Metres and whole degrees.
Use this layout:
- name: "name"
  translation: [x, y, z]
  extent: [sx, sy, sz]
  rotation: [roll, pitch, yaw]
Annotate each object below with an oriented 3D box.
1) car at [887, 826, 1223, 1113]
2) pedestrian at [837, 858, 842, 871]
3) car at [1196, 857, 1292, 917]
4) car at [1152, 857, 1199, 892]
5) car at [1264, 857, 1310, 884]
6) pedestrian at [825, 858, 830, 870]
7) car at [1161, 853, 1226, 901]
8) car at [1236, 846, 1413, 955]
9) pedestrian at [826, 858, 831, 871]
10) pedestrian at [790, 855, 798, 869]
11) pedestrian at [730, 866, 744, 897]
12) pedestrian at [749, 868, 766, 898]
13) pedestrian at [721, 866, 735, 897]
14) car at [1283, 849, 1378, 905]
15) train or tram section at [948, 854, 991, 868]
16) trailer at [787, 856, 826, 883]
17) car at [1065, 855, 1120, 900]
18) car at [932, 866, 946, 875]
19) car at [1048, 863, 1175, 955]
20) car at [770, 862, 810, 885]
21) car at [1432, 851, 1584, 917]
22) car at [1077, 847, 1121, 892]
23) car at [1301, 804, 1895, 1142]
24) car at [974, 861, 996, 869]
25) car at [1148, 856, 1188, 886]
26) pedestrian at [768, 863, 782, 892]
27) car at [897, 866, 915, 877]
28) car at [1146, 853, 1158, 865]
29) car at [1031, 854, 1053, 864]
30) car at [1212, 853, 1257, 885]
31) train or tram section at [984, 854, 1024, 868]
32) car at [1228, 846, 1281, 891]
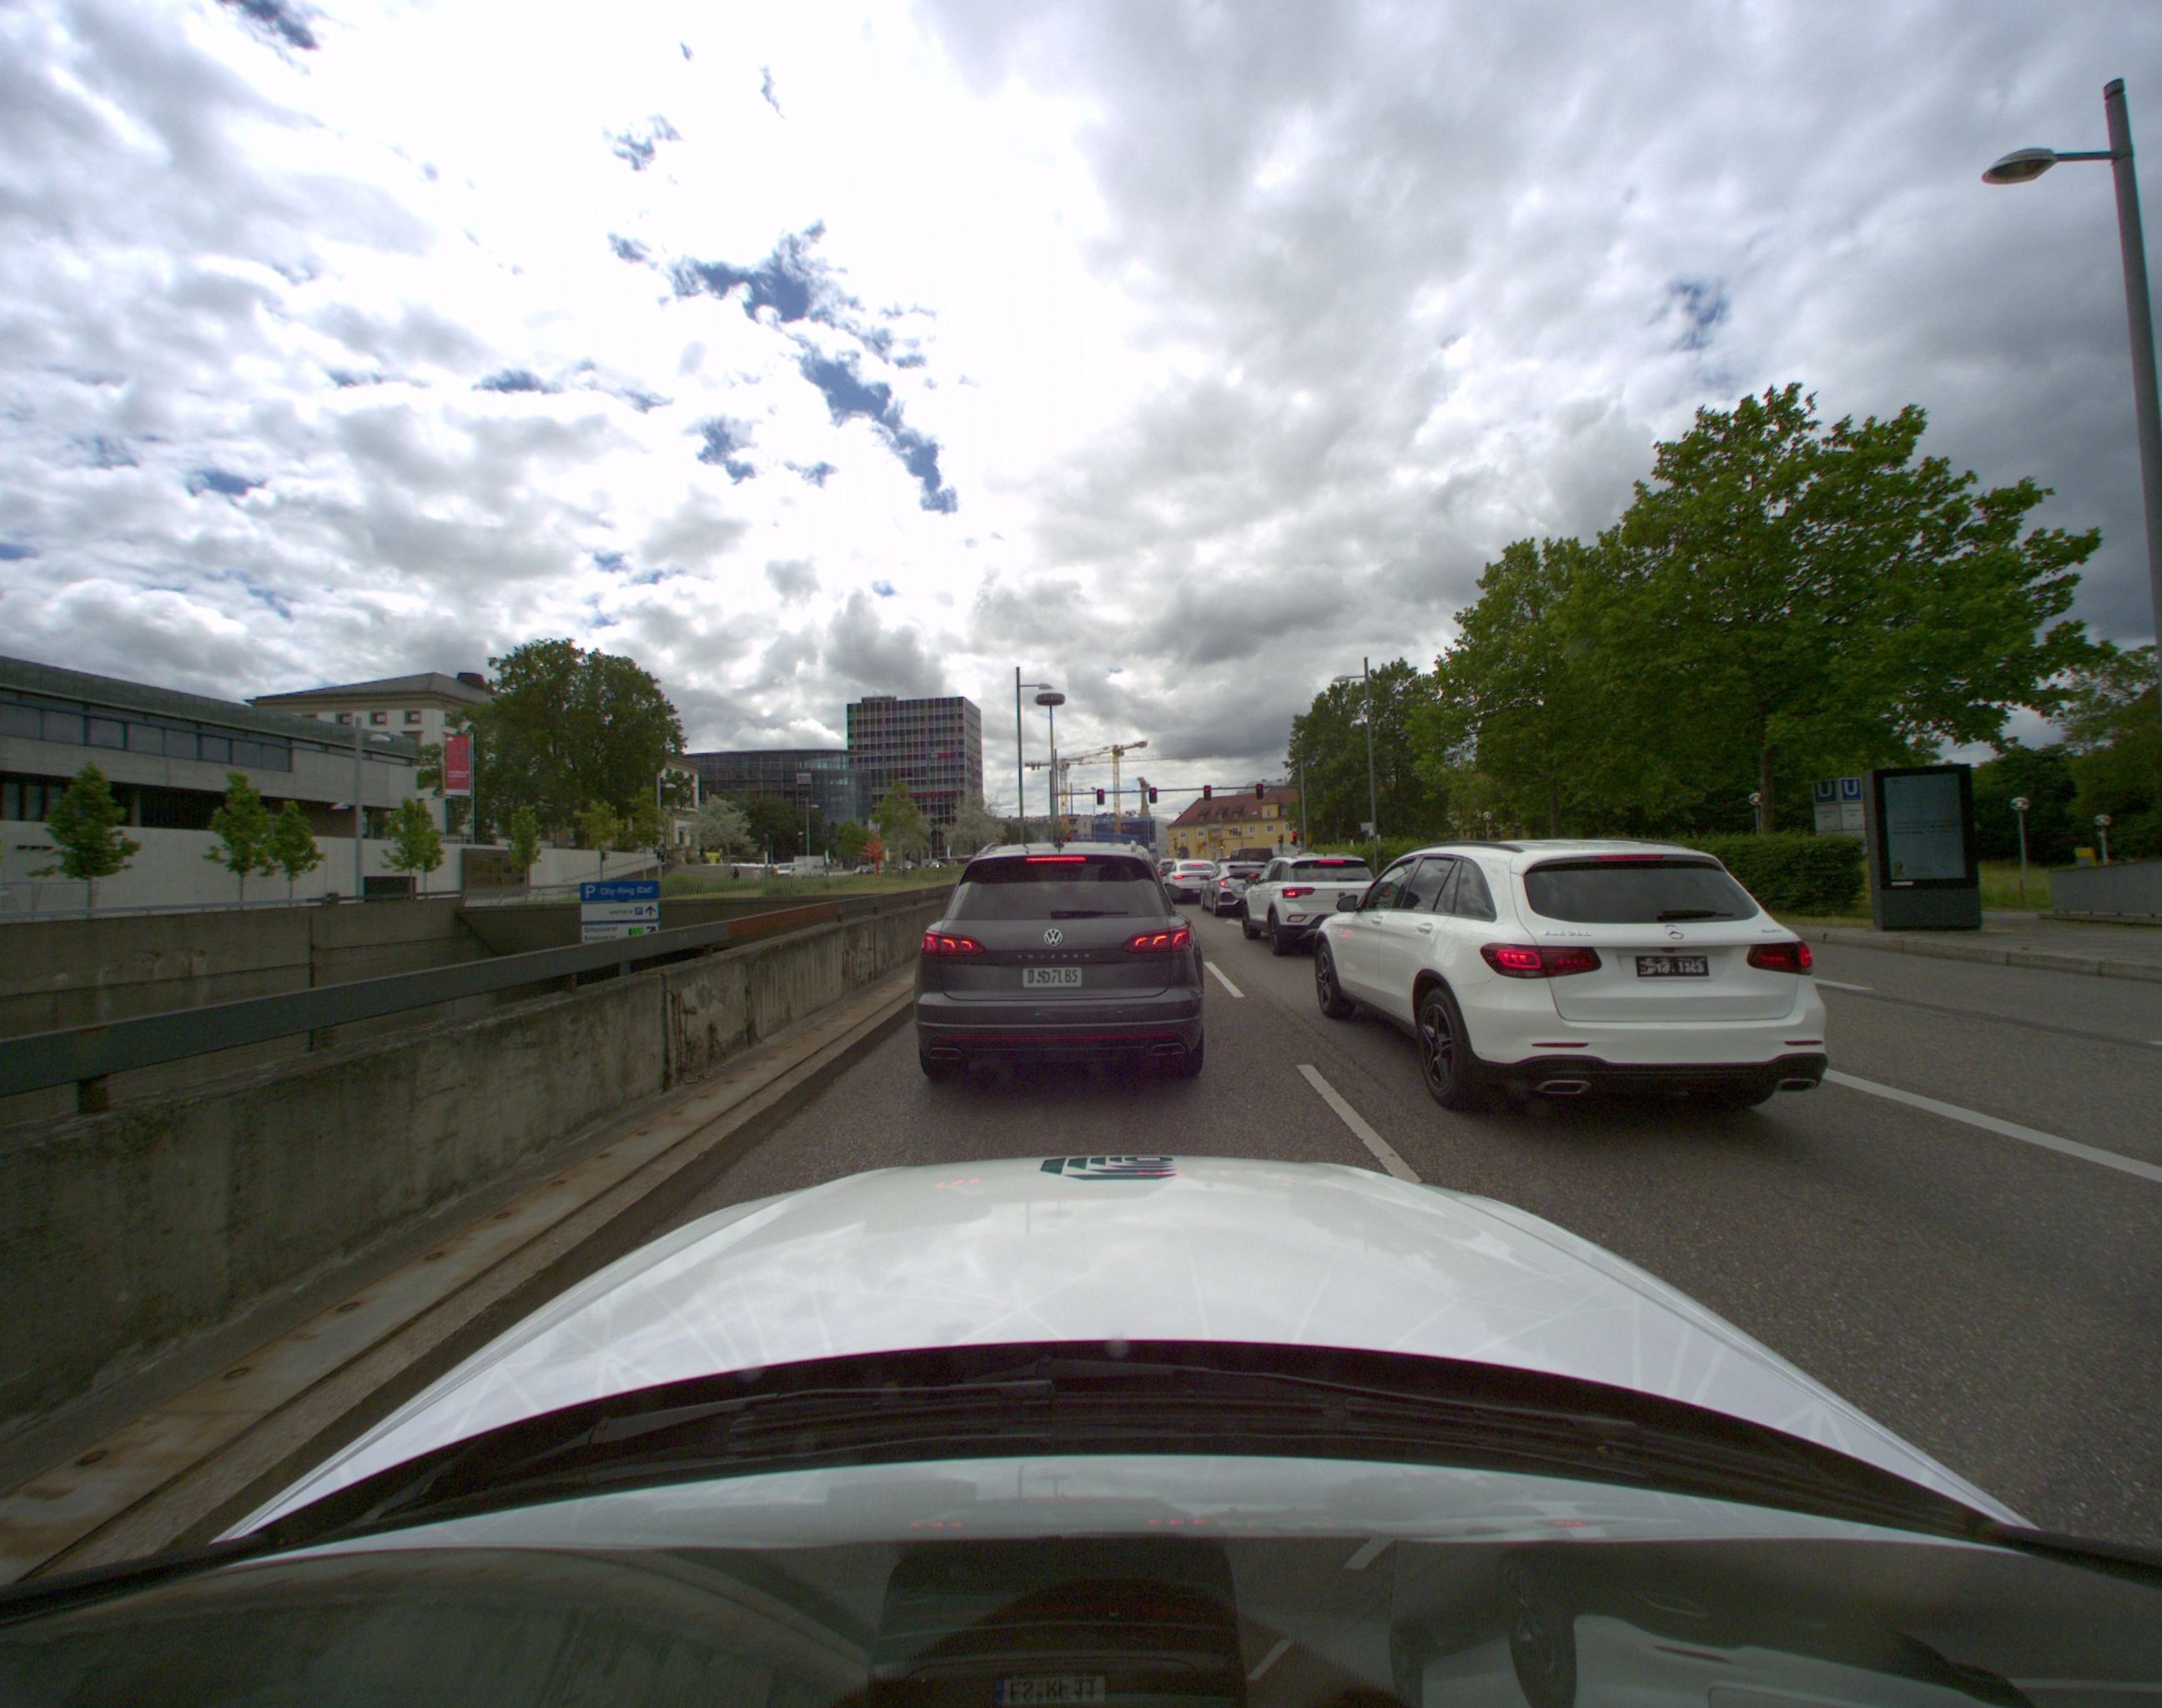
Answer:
- name: "car"
  translation: [-0.099, 0.691, 6.788]
  extent: [1.944, 1.651, 4.001]
  rotation: [-1, 0, 1]
- name: "pedestrian"
  translation: [-38.023, 1.640, 128.306]
  extent: [0.740, 2.013, 0.915]
  rotation: [-2, 1, -17]
- name: "car"
  translation: [4.317, 0.843, 22.227]
  extent: [1.918, 1.432, 4.493]
  rotation: [-1, -1, 3]
- name: "car"
  translation: [4.340, 0.933, 37.783]
  extent: [1.918, 1.529, 4.050]
  rotation: [-1, -1, 3]
- name: "car"
  translation: [11.495, 0.926, 45.652]
  extent: [1.751, 1.447, 3.633]
  rotation: [0, -1, 1]
- name: "pedestrian"
  translation: [-41.759, 1.681, 134.254]
  extent: [0.740, 2.013, 0.788]
  rotation: [-2, 1, -18]
- name: "car"
  translation: [3.904, 0.788, 28.968]
  extent: [1.918, 1.529, 4.493]
  rotation: [-1, -1, 3]
- name: "car"
  translation: [3.942, 0.705, 14.025]
  extent: [1.918, 1.551, 4.493]
  rotation: [-1, -1, 3]
- name: "pedestrian"
  translation: [-39.108, 1.577, 126.231]
  extent: [0.740, 2.013, 0.915]
  rotation: [-2, 1, -17]
- name: "pedestrian"
  translation: [-40.072, 1.113, 113.766]
  extent: [0.737, 2.013, 1.113]
  rotation: [-2, 1, -3]
- name: "pedestrian"
  translation: [-23.318, 1.868, 55.157]
  extent: [0.794, 2.013, 0.830]
  rotation: [-2, 0, -26]
- name: "pedestrian"
  translation: [-22.334, 2.008, 56.198]
  extent: [0.852, 2.013, 0.632]
  rotation: [-2, 1, 22]
- name: "pedestrian"
  translation: [-23.666, 1.851, 54.597]
  extent: [0.794, 2.013, 0.830]
  rotation: [-2, 0, -26]
- name: "car"
  translation: [8.070, 0.703, 26.804]
  extent: [1.985, 1.640, 4.308]
  rotation: [-1, 0, 3]
- name: "train or tram section"
  translation: [-25.546, 1.597, 186.467]
  extent: [10.296, 3.010, 2.612]
  rotation: [-1, -2, 30]
- name: "trailer"
  translation: [-28.443, 1.552, 84.664]
  extent: [2.030, 2.604, 5.511]
  rotation: [0, 0, 2]
- name: "car"
  translation: [0.477, 0.869, 31.155]
  extent: [1.944, 1.600, 3.932]
  rotation: [0, 0, 1]
- name: "car"
  translation: [-24.018, 2.724, 137.562]
  extent: [1.727, 1.495, 3.594]
  rotation: [0, -2, 0]
- name: "car"
  translation: [0.526, 0.870, 14.513]
  extent: [1.944, 1.384, 3.932]
  rotation: [0, 0, 1]
- name: "car"
  translation: [-28.336, 1.855, 79.560]
  extent: [1.985, 2.013, 4.695]
  rotation: [-2, 1, 3]
- name: "car"
  translation: [10.389, 0.721, 20.244]
  extent: [1.921, 1.460, 4.536]
  rotation: [0, -2, 8]
- name: "car"
  translation: [0.875, 0.709, 38.688]
  extent: [1.944, 2.018, 3.932]
  rotation: [0, 0, 1]
- name: "car"
  translation: [3.171, 0.597, 6.307]
  extent: [1.918, 1.653, 4.493]
  rotation: [-1, 0, 3]
- name: "car"
  translation: [-18.380, 2.151, 156.204]
  extent: [4.173, 1.603, 1.764]
  rotation: [-1, -2, 38]
- name: "car"
  translation: [4.658, 0.925, 44.068]
  extent: [1.918, 1.529, 4.050]
  rotation: [-1, -1, 3]
- name: "pedestrian"
  translation: [-22.555, 1.726, 59.974]
  extent: [0.729, 2.012, 0.628]
  rotation: [-2, 4, -6]
- name: "car"
  translation: [-25.450, 2.589, 118.620]
  extent: [1.727, 1.495, 3.594]
  rotation: [0, -2, 0]
- name: "car"
  translation: [9.701, 0.680, 111.430]
  extent: [1.612, 1.627, 4.002]
  rotation: [0, -2, 3]
- name: "car"
  translation: [-8.413, 1.026, 175.216]
  extent: [4.402, 2.014, 2.012]
  rotation: [-1, -2, 36]
- name: "car"
  translation: [8.344, 0.818, 44.641]
  extent: [1.902, 1.697, 4.014]
  rotation: [0, -1, 3]
- name: "train or tram section"
  translation: [-17.243, 1.515, 181.705]
  extent: [8.836, 3.010, 2.612]
  rotation: [-1, -2, 30]
- name: "car"
  translation: [8.260, 0.681, 39.061]
  extent: [1.902, 2.014, 4.014]
  rotation: [0, -1, 3]
